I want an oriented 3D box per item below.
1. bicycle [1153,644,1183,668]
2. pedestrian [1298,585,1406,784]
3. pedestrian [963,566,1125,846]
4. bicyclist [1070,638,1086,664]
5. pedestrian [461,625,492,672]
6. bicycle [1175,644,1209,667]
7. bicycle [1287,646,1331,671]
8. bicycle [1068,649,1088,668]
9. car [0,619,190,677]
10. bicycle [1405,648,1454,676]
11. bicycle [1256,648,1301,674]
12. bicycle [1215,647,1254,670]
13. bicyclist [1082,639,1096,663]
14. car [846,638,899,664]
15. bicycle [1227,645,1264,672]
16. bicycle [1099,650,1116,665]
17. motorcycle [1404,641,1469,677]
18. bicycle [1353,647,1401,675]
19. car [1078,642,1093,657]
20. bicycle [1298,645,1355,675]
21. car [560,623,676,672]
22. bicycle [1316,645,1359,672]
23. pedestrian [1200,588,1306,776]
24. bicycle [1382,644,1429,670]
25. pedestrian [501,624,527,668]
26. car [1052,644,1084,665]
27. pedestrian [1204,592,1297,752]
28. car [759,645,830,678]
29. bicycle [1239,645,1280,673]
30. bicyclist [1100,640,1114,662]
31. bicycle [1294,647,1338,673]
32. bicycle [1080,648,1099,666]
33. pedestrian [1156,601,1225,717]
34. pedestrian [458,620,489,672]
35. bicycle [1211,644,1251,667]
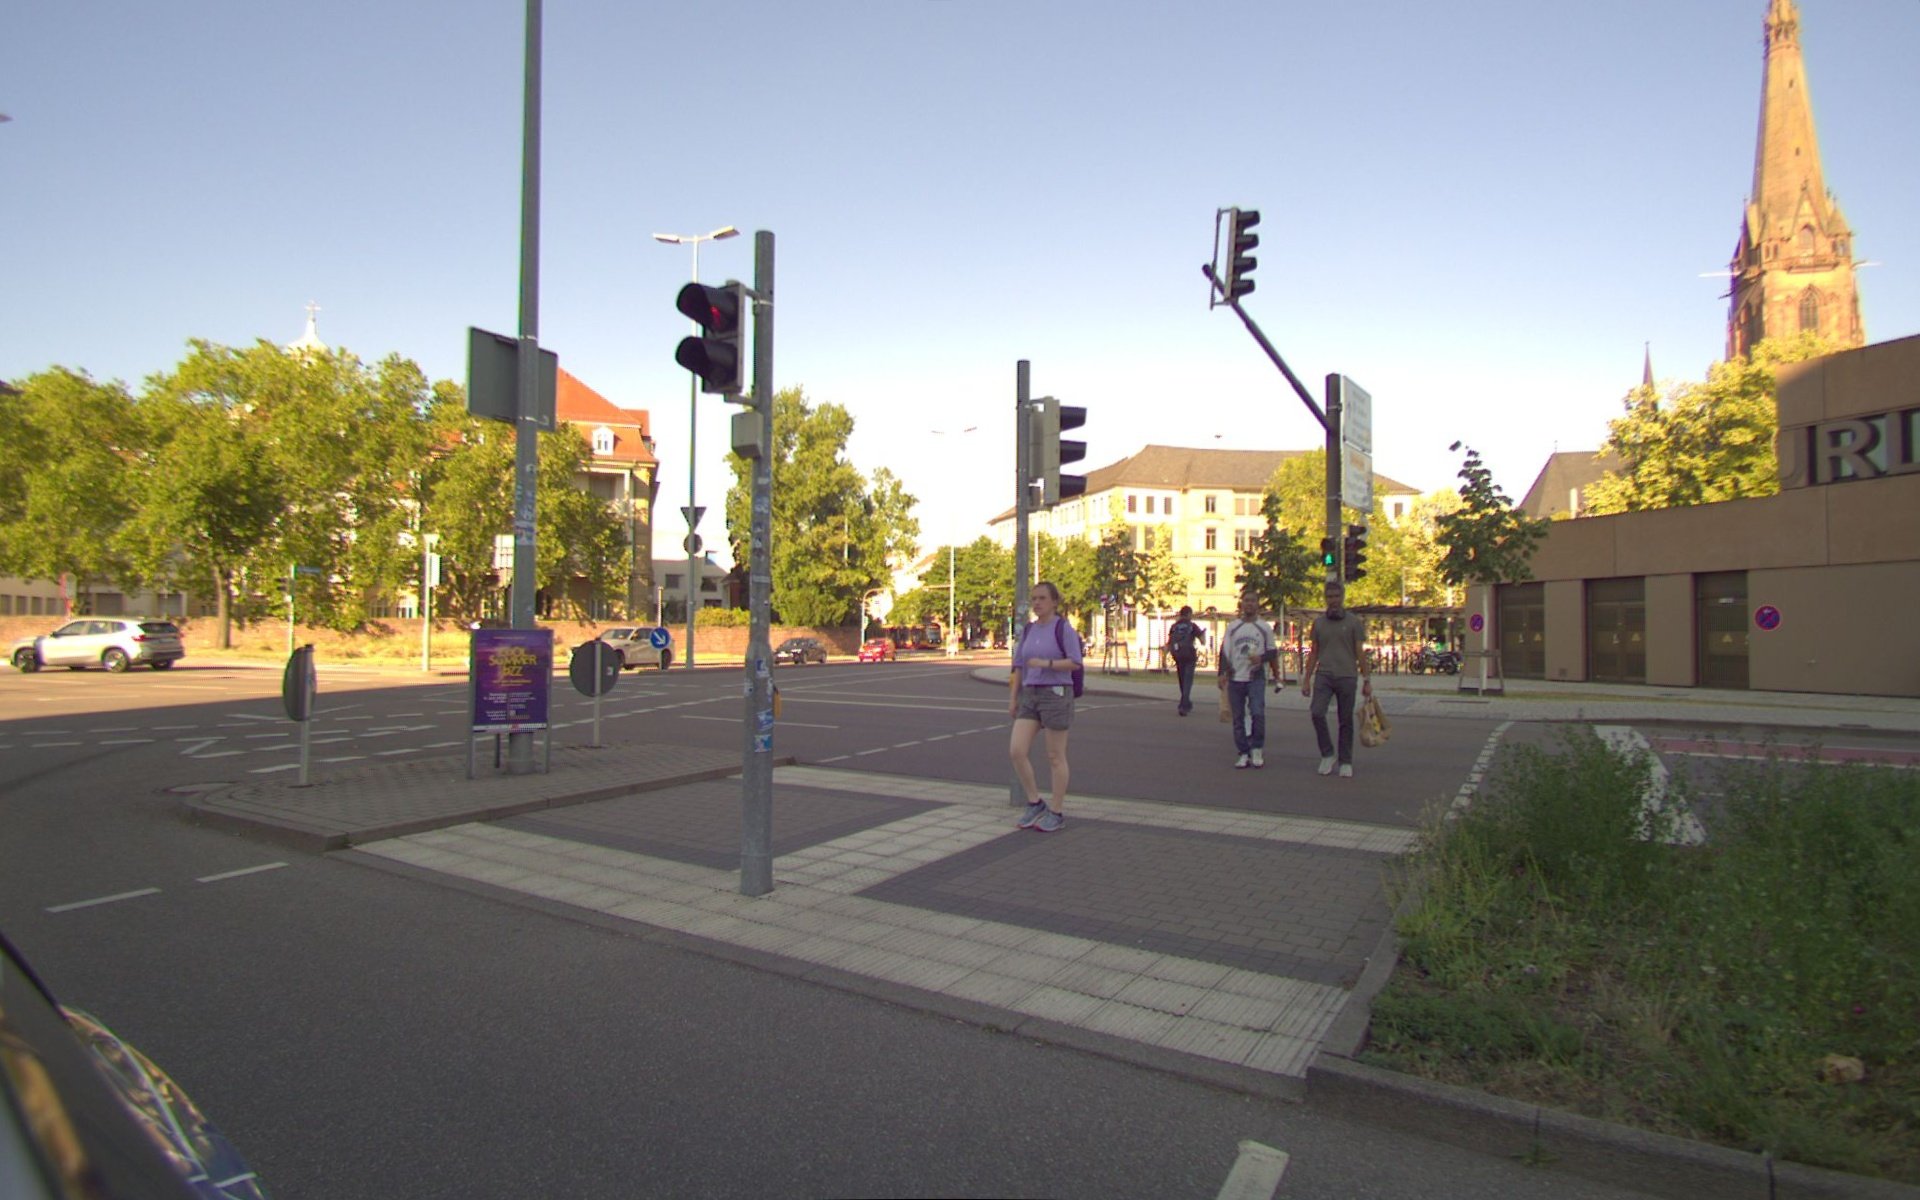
[{"bbox_3d":[10.087,2.706,49.169,0.557,1.062,1.979,-1,-1,-14],"label":"bicycle"},{"bbox_3d":[3.696,0.764,9.526,0.755,1.754,0.917,-1,-3,34],"label":"pedestrian"},{"bbox_3d":[0.592,0.684,6.966,0.755,1.754,0.917,-1,-3,34],"label":"pedestrian"},{"bbox_3d":[7.758,3.327,66.515,0.759,1.681,1.055,-3,-3,18],"label":"bicyclist"},{"bbox_3d":[-17.976,1.798,37.592,0.858,1.687,0.715,3,-1,-34],"label":"pedestrian"},{"bbox_3d":[11.428,2.722,49.944,0.671,1.062,2.029,-1,-1,-19],"label":"bicycle"},{"bbox_3d":[15.557,2.601,45.163,0.754,1.051,1.938,-1,-1,-22],"label":"bicycle"},{"bbox_3d":[7.777,3.828,66.494,0.759,1.196,2.589,-3,-3,18],"label":"bicycle"},{"bbox_3d":[-25.906,1.423,30.100,4.299,1.633,2.157,0,-2,-2],"label":"car"},{"bbox_3d":[18.669,2.460,40.296,0.514,1.051,1.938,-1,-1,-20],"label":"bicycle"},{"bbox_3d":[14.117,2.701,44.965,0.851,1.051,1.938,-1,-1,-22],"label":"bicycle"},{"bbox_3d":[13.088,2.780,48.296,0.745,1.062,1.979,-1,-1,-19],"label":"bicycle"},{"bbox_3d":[9.002,3.560,70.529,0.759,1.681,1.055,-3,-3,18],"label":"bicyclist"},{"bbox_3d":[-5.651,3.300,66.174,2.173,1.598,4.588,-2,-3,12],"label":"car"},{"bbox_3d":[12.384,2.526,43.934,0.477,1.114,1.807,-1,-1,-25],"label":"bicycle"},{"bbox_3d":[11.575,4.488,79.440,0.876,1.106,2.172,-1,-2,22],"label":"bicycle"},{"bbox_3d":[17.605,2.190,37.480,0.707,1.257,2.363,-1,-3,-18],"label":"motorcycle"},{"bbox_3d":[16.350,2.388,39.712,0.514,1.051,1.854,-1,-1,-24],"label":"bicycle"},{"bbox_3d":[11.717,4.563,94.269,1.368,1.348,3.496,0,-2,7],"label":"car"},{"bbox_3d":[13.934,2.277,38.516,0.732,1.114,2.131,-1,-3,-23],"label":"bicycle"},{"bbox_3d":[-12.909,1.805,38.526,2.173,1.697,4.588,-2,-3,12],"label":"car"},{"bbox_3d":[16.081,2.474,43.169,0.594,1.051,2.040,-1,-1,-16],"label":"bicycle"},{"bbox_3d":[2.913,0.784,10.031,0.755,1.754,0.917,-1,-3,34],"label":"pedestrian"},{"bbox_3d":[19.646,2.498,44.652,0.557,1.097,2.078,-1,-1,-20],"label":"bicycle"},{"bbox_3d":[-17.512,1.818,39.717,0.779,1.665,0.715,3,-1,-29],"label":"pedestrian"},{"bbox_3d":[8.356,4.173,78.154,1.790,1.455,3.957,-1,-1,16],"label":"car"},{"bbox_3d":[3.385,0.814,11.767,0.785,1.754,0.917,-1,-3,34],"label":"pedestrian"},{"bbox_3d":[-8.752,3.259,53.836,2.173,1.598,4.588,-2,-3,12],"label":"car"},{"bbox_3d":[12.530,2.450,42.409,0.557,1.114,1.979,-1,-1,-19],"label":"bicycle"},{"bbox_3d":[11.539,4.003,79.454,0.861,1.666,0.937,-2,-3,23],"label":"bicyclist"},{"bbox_3d":[15.039,2.526,42.822,0.594,1.051,2.040,-1,-1,-19],"label":"bicycle"},{"bbox_3d":[9.021,3.973,70.514,0.759,1.196,2.589,-3,-3,18],"label":"bicycle"},{"bbox_3d":[3.508,0.881,15.377,0.746,1.698,0.889,-2,-3,34],"label":"pedestrian"},{"bbox_3d":[-18.361,1.722,38.202,0.858,1.908,0.715,3,-1,-34],"label":"pedestrian"},{"bbox_3d":[13.685,2.801,51.089,0.823,1.062,2.126,-1,-1,-21],"label":"bicycle"}]
